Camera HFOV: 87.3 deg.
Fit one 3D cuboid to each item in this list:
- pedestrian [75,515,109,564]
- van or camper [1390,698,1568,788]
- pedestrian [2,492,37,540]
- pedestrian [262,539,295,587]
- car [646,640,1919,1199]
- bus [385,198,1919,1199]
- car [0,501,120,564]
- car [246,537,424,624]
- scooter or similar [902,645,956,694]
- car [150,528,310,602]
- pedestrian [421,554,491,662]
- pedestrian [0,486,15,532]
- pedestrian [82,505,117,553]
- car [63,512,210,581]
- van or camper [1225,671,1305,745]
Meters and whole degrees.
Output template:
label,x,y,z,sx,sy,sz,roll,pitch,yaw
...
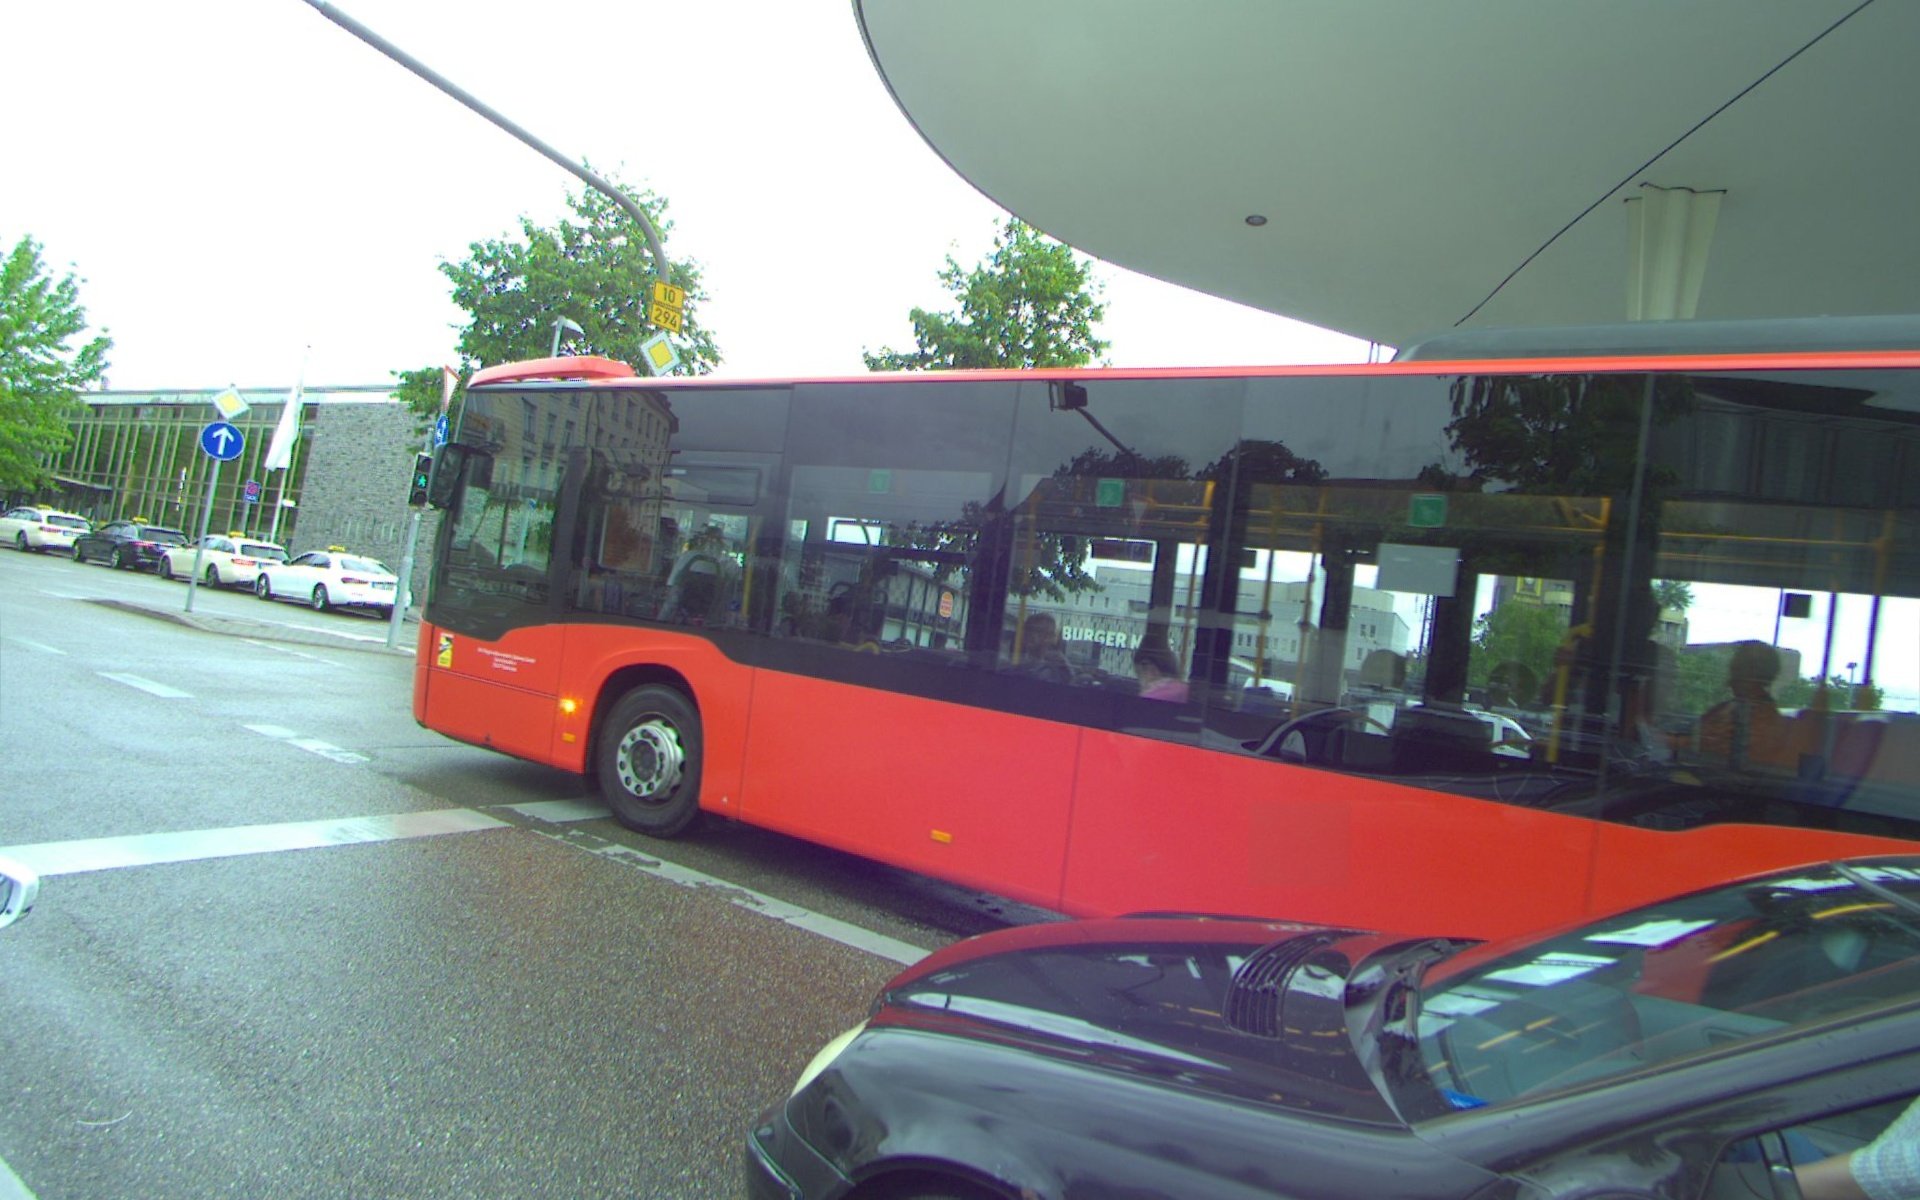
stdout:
label,x,y,z,sx,sy,sz,roll,pitch,yaw
pedestrian,-33.004,-2.292,38.259,0.703,1.729,0.566,7,-2,27
van or camper,20.334,5.537,39.550,5.873,2.491,2.108,7,-2,32
pedestrian,-42.833,-3.825,45.812,0.814,2.037,0.771,7,-1,30
pedestrian,-25.429,-1.378,37.550,0.703,1.665,0.565,7,-1,27
car,1.749,1.134,1.489,4.361,1.494,1.752,5,-6,31
bus,0.913,0.169,5.950,10.026,3.210,2.749,7,-2,32
car,-31.438,-2.379,34.542,4.736,1.618,2.000,7,-2,25
car,-15.858,-0.511,25.462,4.538,1.608,1.779,7,-2,30
scooter or similar,-0.954,2.153,31.179,1.503,1.284,0.467,8,-1,-4
car,-20.635,-1.008,28.389,4.588,1.468,1.851,7,-2,30
pedestrian,-8.461,0.128,16.885,0.802,1.693,0.707,8,-1,-32
pedestrian,-52.544,-5.016,55.040,0.848,2.439,0.844,7,-1,34
pedestrian,-38.854,-3.202,45.414,0.814,2.037,0.771,7,-1,30
car,-25.843,-1.703,31.531,4.661,1.542,1.918,7,-2,30
van or camper,12.535,4.401,41.019,2.072,2.491,5.975,7,-3,25
